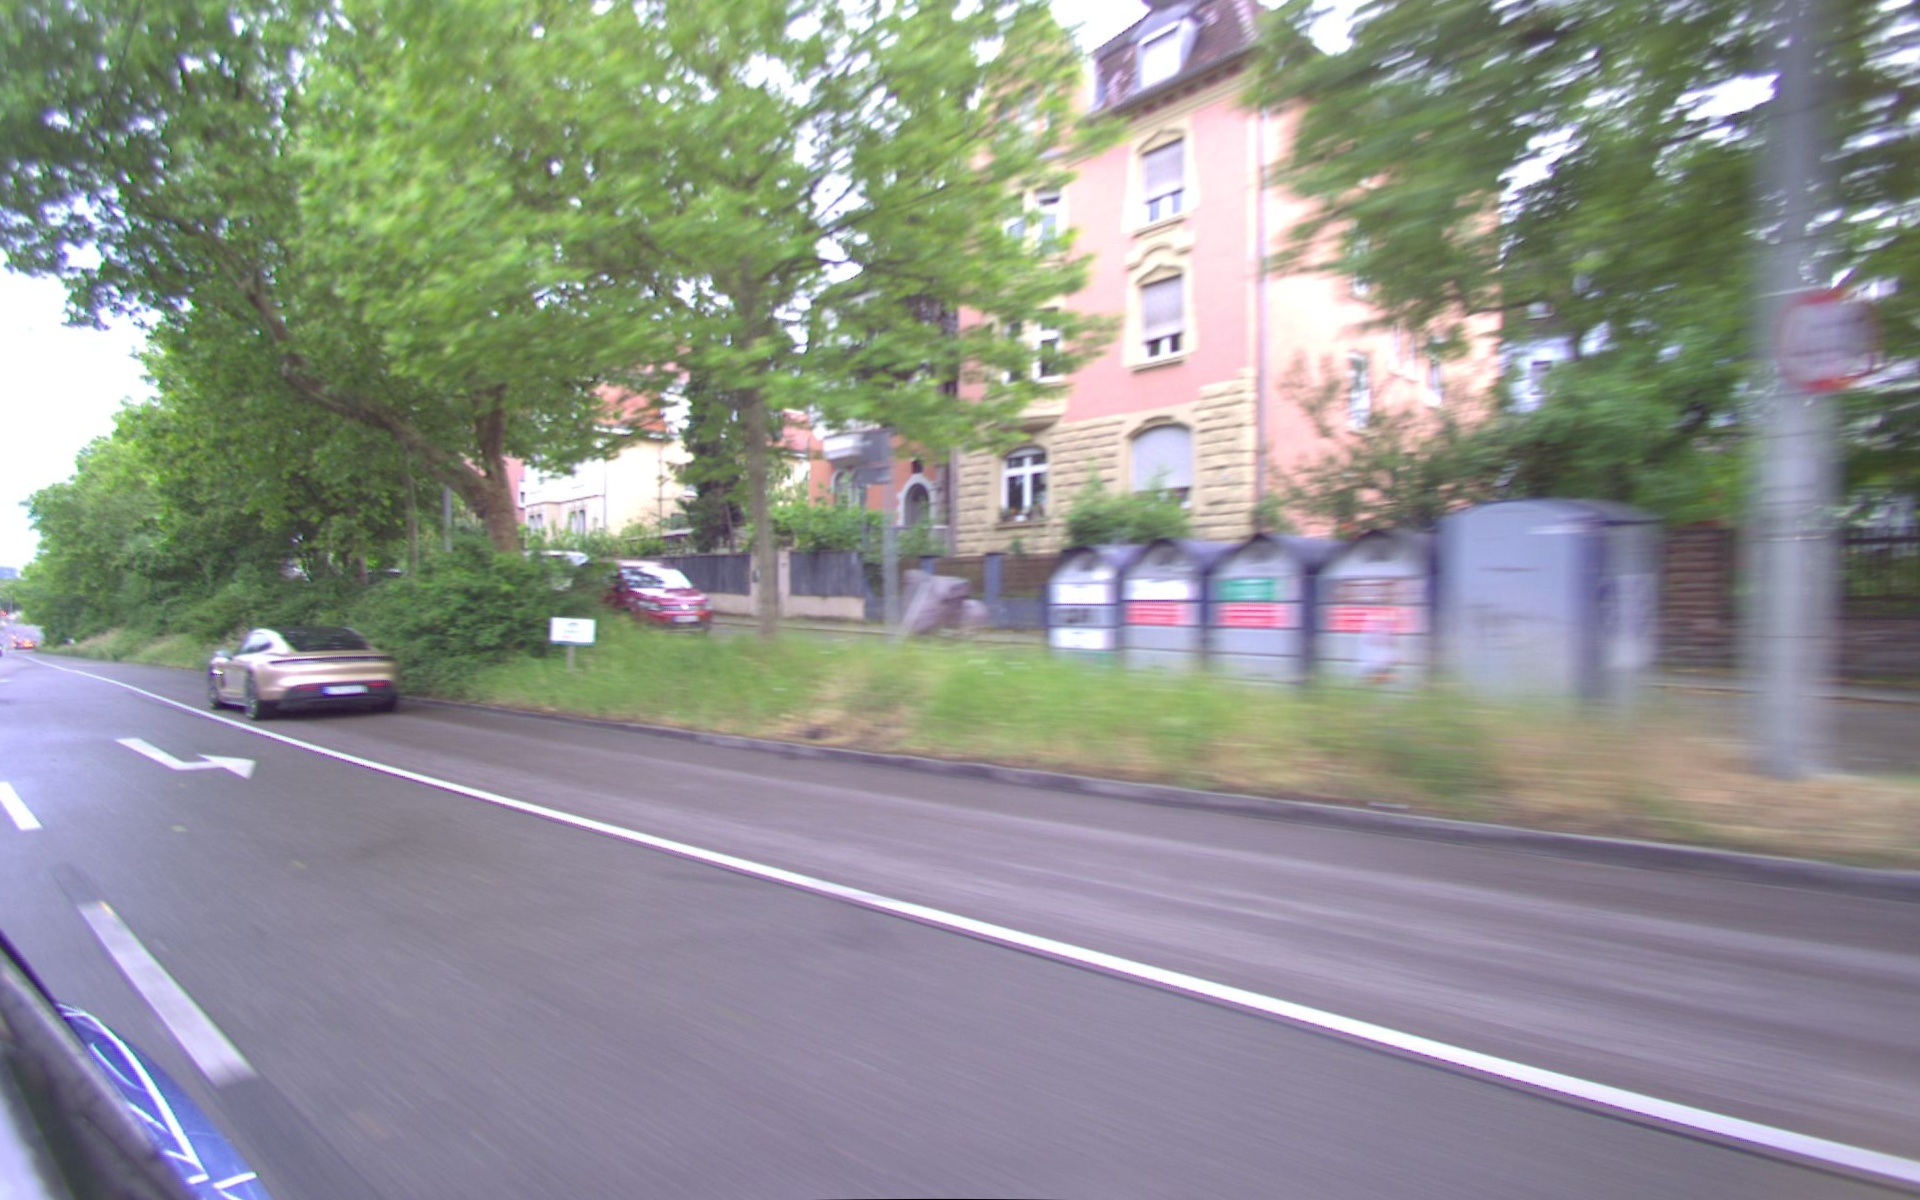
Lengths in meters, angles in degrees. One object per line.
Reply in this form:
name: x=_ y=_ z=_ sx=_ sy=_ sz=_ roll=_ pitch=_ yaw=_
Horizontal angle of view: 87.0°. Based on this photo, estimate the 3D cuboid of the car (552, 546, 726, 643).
car: x=-7.009 y=-0.049 z=21.792 sx=1.808 sy=1.857 sz=4.633 roll=-2 pitch=-1 yaw=-41

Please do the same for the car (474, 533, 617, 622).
car: x=-10.784 y=-0.516 z=26.150 sx=1.969 sy=2.029 sz=4.633 roll=-2 pitch=-1 yaw=-41

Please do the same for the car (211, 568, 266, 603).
car: x=-36.217 y=-0.722 z=50.739 sx=1.808 sy=1.569 sz=4.291 roll=-2 pitch=-1 yaw=-41

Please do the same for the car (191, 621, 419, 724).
car: x=-10.786 y=1.111 z=16.514 sx=4.713 sy=1.363 sz=2.048 roll=-3 pitch=-1 yaw=43

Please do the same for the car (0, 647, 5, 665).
car: x=-78.134 y=4.527 z=81.255 sx=1.970 sy=1.453 sz=4.005 roll=-2 pitch=-1 yaw=-42
